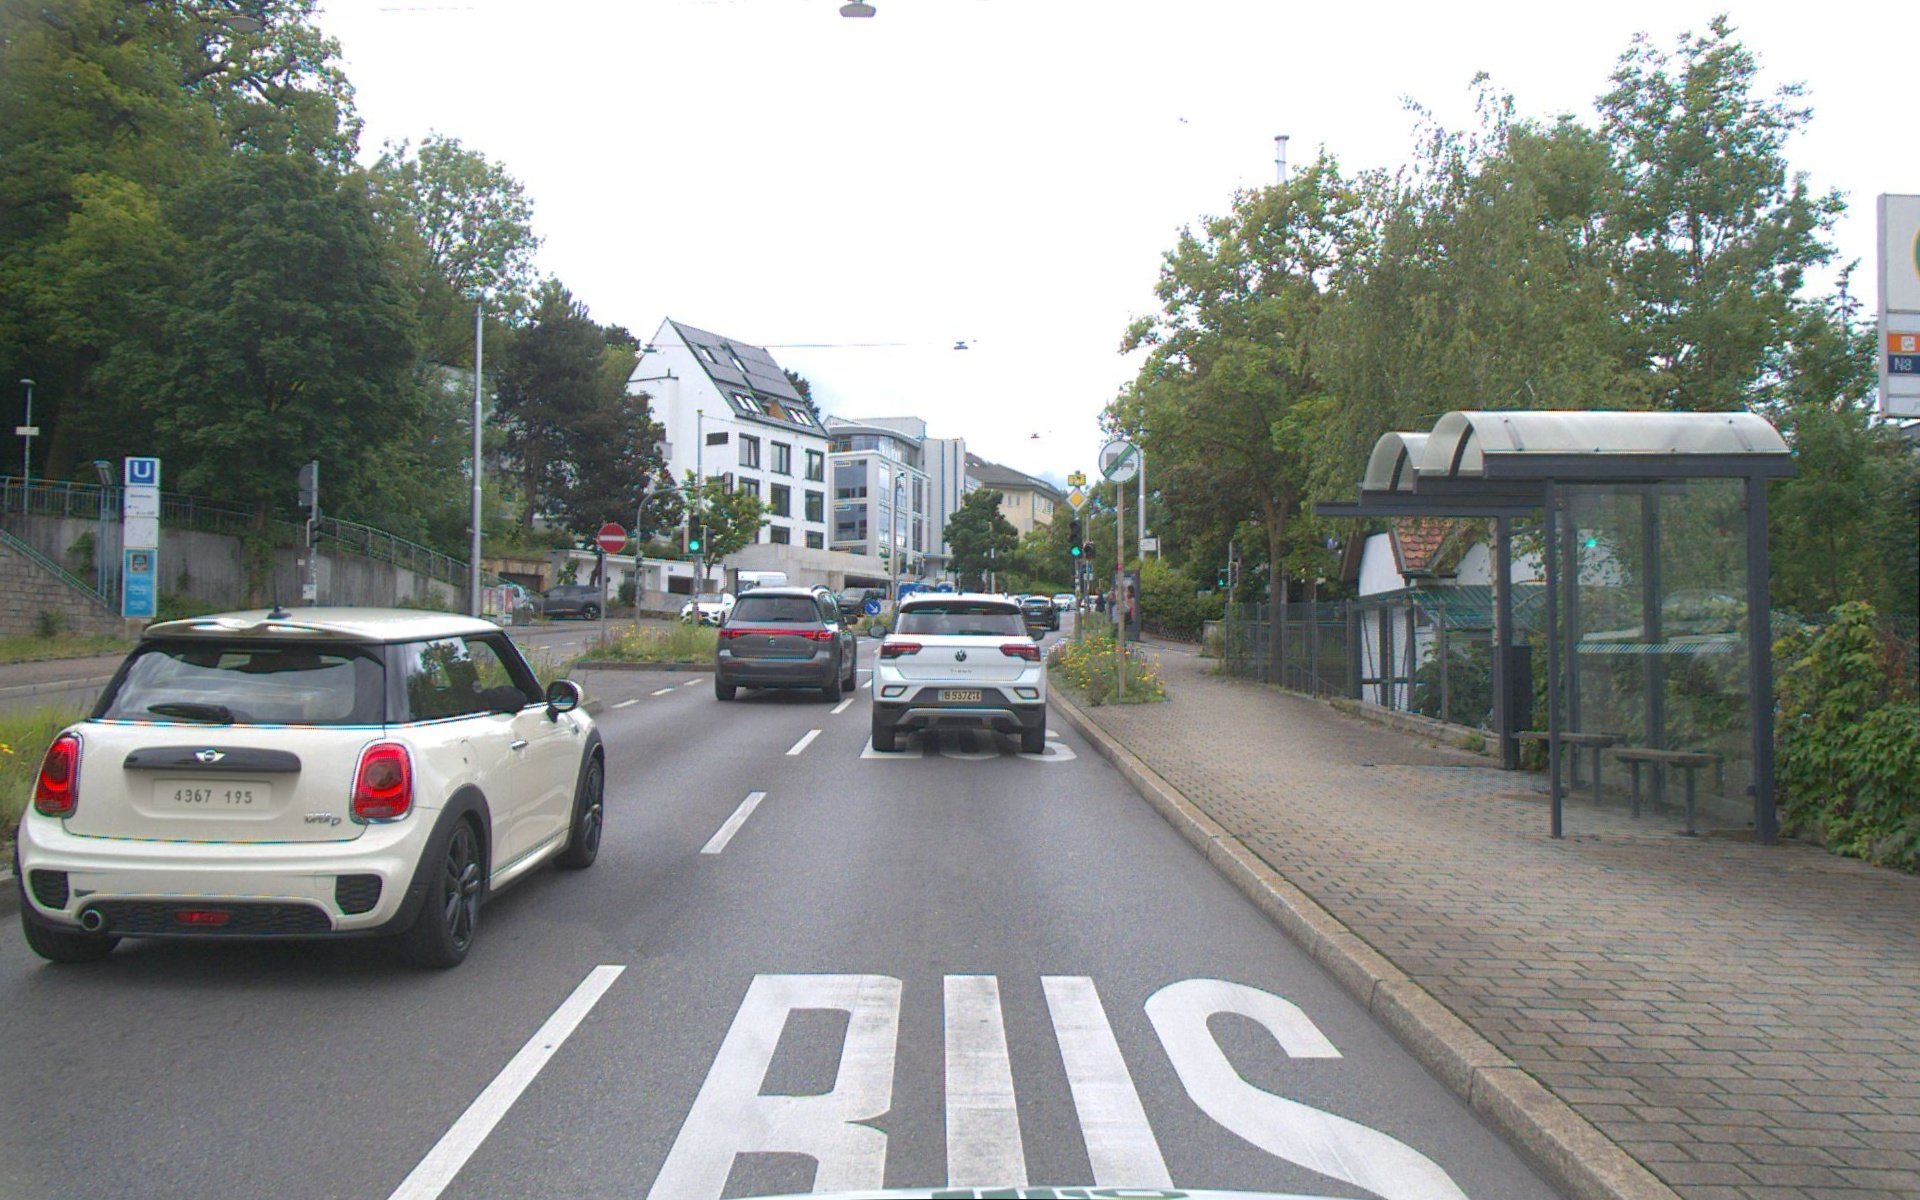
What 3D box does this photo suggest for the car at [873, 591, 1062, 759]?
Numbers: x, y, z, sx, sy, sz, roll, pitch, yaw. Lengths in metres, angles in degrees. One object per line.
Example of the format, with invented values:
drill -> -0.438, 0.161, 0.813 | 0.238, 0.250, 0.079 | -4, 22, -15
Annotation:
car -> 0.004, 0.703, 17.466 | 1.775, 1.566, 3.688 | 0, 0, -2

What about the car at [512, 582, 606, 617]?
car -> -18.053, -0.017, 74.577 | 4.047, 1.567, 1.594 | 0, 0, -12

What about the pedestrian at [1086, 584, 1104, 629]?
pedestrian -> 5.693, 0.285, 69.888 | 0.678, 1.866, 0.620 | 1, 0, 7

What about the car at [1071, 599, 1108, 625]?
car -> 7.849, 0.697, 100.120 | 1.818, 1.527, 4.059 | 0, 0, 10

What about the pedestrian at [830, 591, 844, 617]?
pedestrian -> -8.271, 0.264, 111.406 | 0.667, 1.669, 0.664 | 2, 0, -33

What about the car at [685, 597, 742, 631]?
car -> -10.755, 0.605, 72.319 | 1.682, 1.418, 4.610 | 0, 0, 1

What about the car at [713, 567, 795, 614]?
car -> -11.987, -0.538, 96.982 | 2.184, 2.613, 7.427 | 0, 0, 15

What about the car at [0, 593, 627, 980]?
car -> -2.767, 0.685, 7.903 | 1.594, 1.418, 3.566 | 0, 0, 0

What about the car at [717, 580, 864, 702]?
car -> -2.492, 0.562, 25.328 | 1.776, 1.681, 4.636 | 0, 0, 0

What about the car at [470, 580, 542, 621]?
car -> -19.166, 0.018, 69.808 | 2.667, 1.547, 1.552 | 4, -1, -24

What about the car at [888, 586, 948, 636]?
car -> -1.431, 0.367, 57.991 | 1.819, 1.681, 4.637 | 0, 0, 2

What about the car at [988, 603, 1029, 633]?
car -> 2.591, 0.952, 87.842 | 1.818, 1.527, 4.058 | 0, 0, 7

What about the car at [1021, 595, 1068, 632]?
car -> 3.942, 0.623, 76.418 | 1.834, 1.527, 4.558 | 3, 0, 6

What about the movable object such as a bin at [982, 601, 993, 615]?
movable object such as a bin -> 2.140, 0.624, 128.646 | 0.632, 1.007, 0.660 | 1, 0, 25

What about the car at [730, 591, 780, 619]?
car -> -11.143, 0.262, 90.221 | 1.587, 1.491, 3.930 | 0, 0, 11

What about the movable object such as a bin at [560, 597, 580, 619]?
movable object such as a bin -> -19.242, 0.401, 81.622 | 0.628, 1.029, 0.727 | 1, 0, 35

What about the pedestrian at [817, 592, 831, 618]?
pedestrian -> -8.949, 0.334, 108.874 | 0.667, 1.669, 0.664 | 2, 0, -33

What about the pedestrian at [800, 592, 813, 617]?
pedestrian -> -10.109, 0.292, 108.919 | 0.613, 1.669, 0.672 | 2, 0, 21

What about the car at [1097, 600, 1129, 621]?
car -> 11.347, 0.771, 122.638 | 1.818, 1.527, 4.059 | 0, 0, 13

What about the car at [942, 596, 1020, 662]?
car -> 0.604, 0.730, 43.544 | 1.834, 1.527, 4.556 | 3, 0, 3

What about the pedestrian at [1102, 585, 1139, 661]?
pedestrian -> 3.712, 0.532, 38.194 | 0.679, 1.718, 0.620 | -1, -1, 21

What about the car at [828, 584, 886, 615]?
car -> -6.833, -0.024, 110.475 | 1.941, 2.001, 5.219 | 0, 0, 20
